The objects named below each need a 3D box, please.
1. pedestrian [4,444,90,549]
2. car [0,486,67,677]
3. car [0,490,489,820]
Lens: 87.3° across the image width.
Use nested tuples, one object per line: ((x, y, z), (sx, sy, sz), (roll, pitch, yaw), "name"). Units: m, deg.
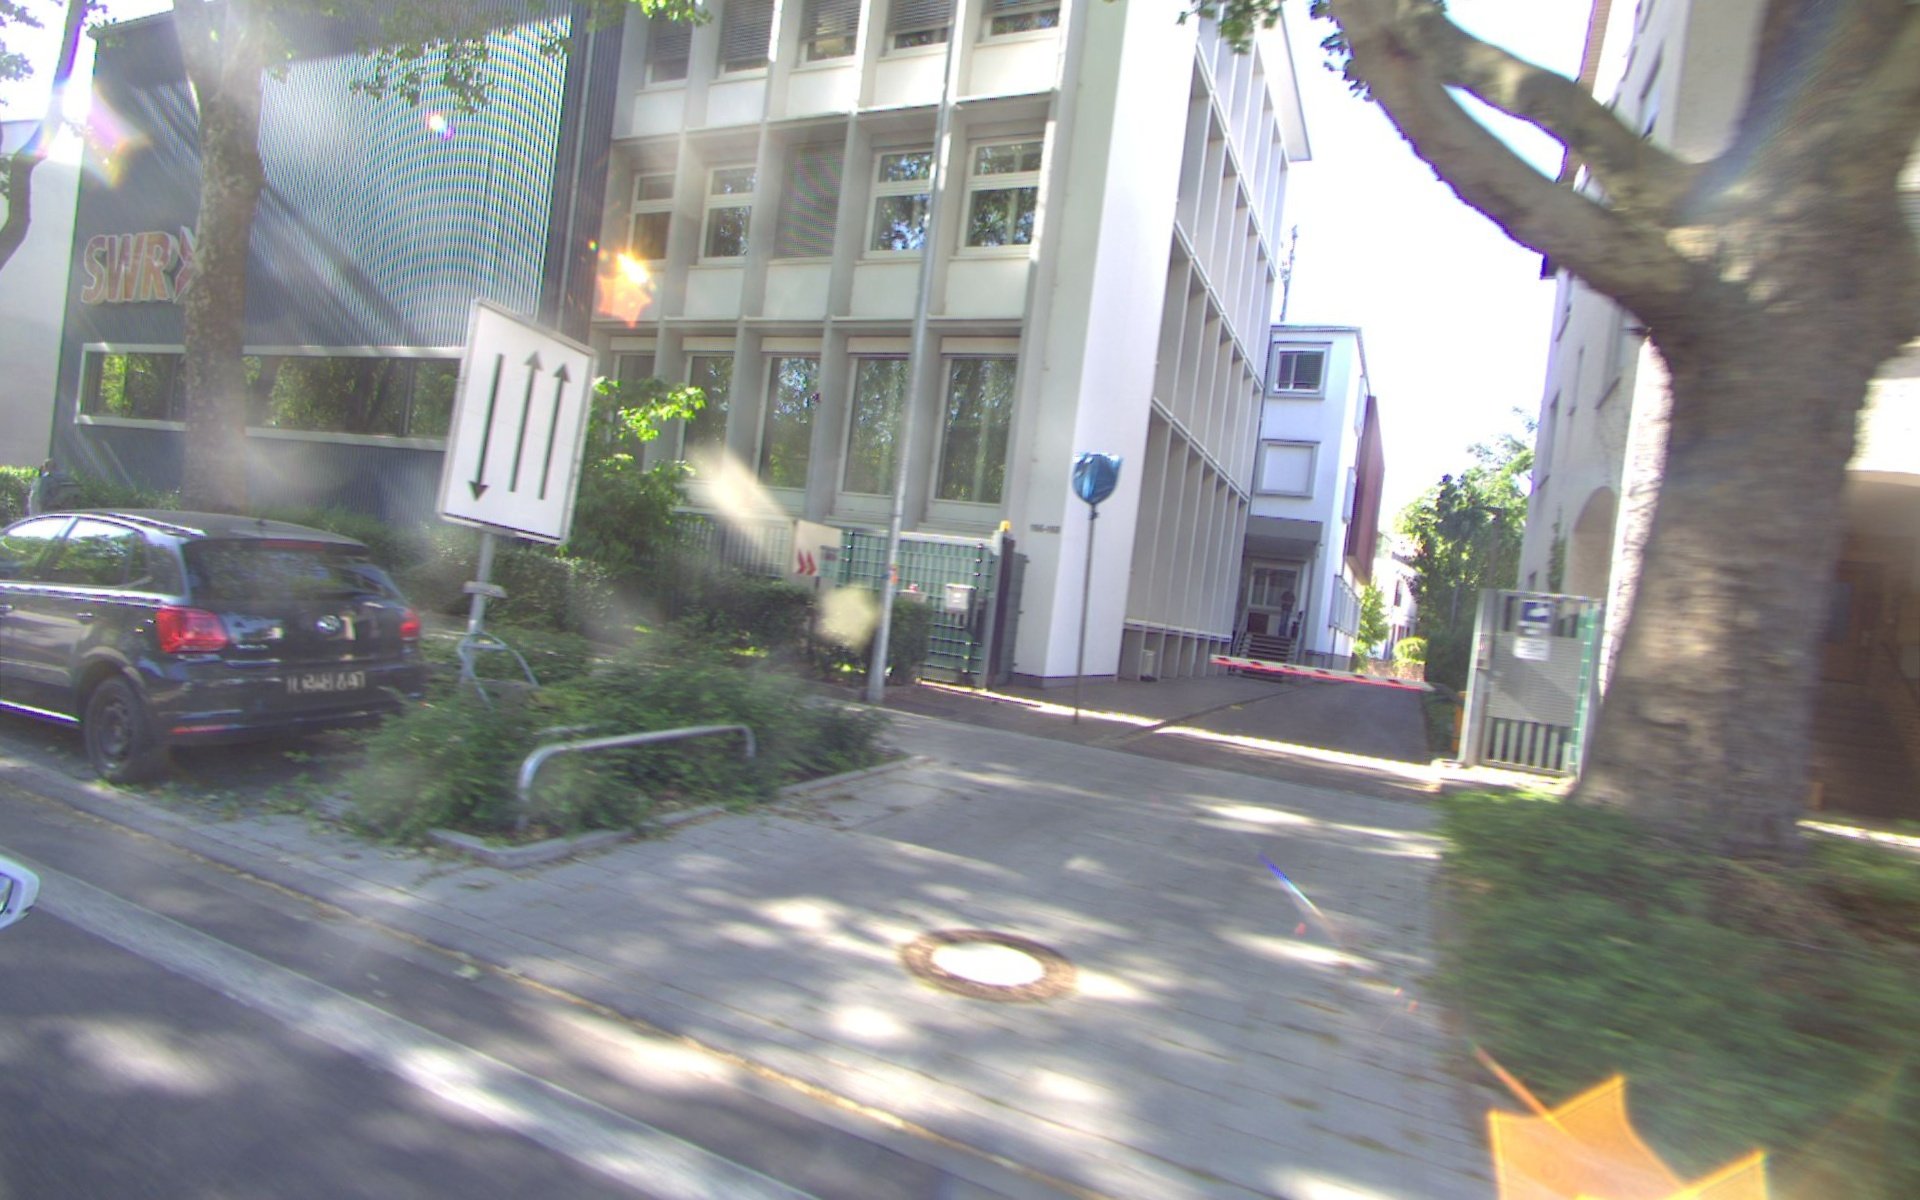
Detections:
((-16.171, -1.823, 17.830), (0.663, 1.667, 0.708), (10, -1, 22), "pedestrian")
((-9.868, -0.402, 8.670), (4.054, 1.558, 1.662), (7, -1, 25), "car")
((-5.423, 0.168, 6.682), (4.174, 1.526, 1.768), (7, 0, 25), "car")
